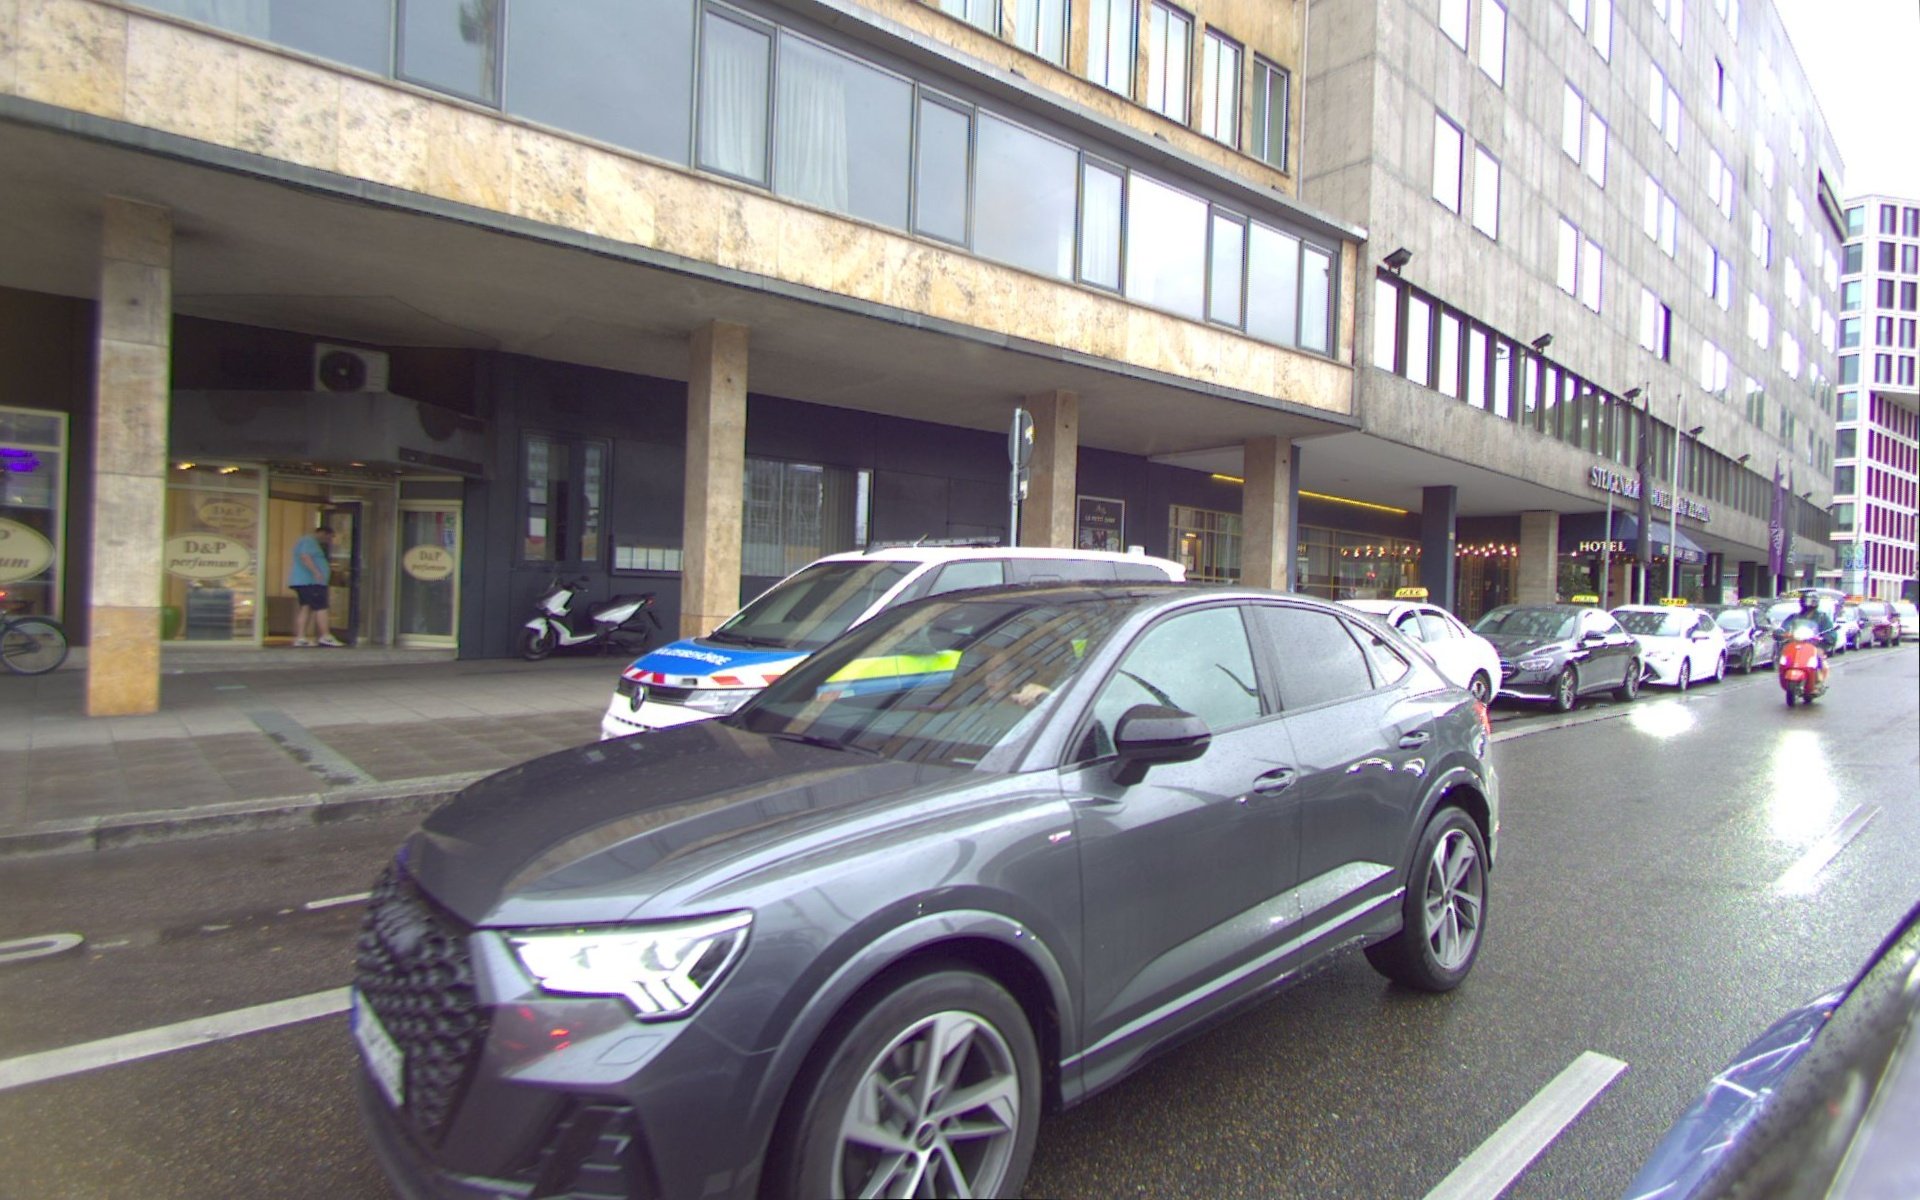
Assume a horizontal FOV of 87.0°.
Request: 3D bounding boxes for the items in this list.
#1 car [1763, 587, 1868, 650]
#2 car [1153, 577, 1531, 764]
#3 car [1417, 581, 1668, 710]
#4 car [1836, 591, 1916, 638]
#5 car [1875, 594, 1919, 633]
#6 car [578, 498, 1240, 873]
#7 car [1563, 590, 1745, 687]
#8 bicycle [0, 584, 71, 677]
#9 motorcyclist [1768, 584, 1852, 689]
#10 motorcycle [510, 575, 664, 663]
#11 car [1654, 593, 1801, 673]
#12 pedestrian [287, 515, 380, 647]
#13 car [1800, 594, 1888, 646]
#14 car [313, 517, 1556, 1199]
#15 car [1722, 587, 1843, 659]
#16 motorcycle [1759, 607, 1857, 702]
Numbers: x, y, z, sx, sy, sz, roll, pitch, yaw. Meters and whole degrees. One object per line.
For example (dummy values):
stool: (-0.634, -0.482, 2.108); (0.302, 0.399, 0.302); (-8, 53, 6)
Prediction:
car: (25.690, 0.500, 30.321); (4.731, 1.764, 1.729); (0, 0, -41)
car: (4.446, 0.609, 11.327); (4.924, 1.658, 1.877); (0, 0, -41)
car: (8.915, 0.567, 15.300); (4.731, 1.658, 1.877); (0, 0, -41)
car: (33.659, 0.479, 37.158); (3.932, 1.634, 1.729); (0, 0, -41)
car: (41.196, 0.541, 43.945); (3.932, 1.634, 1.729); (0, 0, -41)
car: (-0.094, 0.424, 7.567); (4.850, 1.944, 1.877); (0, 0, -41)
car: (13.131, 0.617, 19.028); (4.731, 1.612, 1.729); (0, 0, -41)
bicycle: (-11.653, 0.352, 11.415); (2.428, 1.059, 0.657); (0, 0, -41)
motorcyclist: (13.020, 0.533, 15.505); (0.829, 1.547, 0.860); (0, 0, -40)
motorcycle: (-5.496, 0.258, 14.964); (2.063, 1.233, 0.569); (0, 0, -33)
car: (17.387, 0.655, 22.840); (4.731, 1.612, 1.729); (0, 0, -41)
pedestrian: (-8.994, -0.268, 14.542); (1.114, 1.813, 0.801); (0, 0, -33)
car: (29.697, 0.615, 33.959); (3.932, 1.634, 1.729); (0, 0, -41)
car: (0.315, 0.617, 3.643); (4.266, 1.520, 1.882); (0, 0, -41)
car: (21.906, 0.536, 26.888); (4.731, 1.764, 1.729); (0, 0, -41)
motorcycle: (12.958, 0.787, 15.448); (1.931, 1.323, 0.848); (0, 0, -41)
